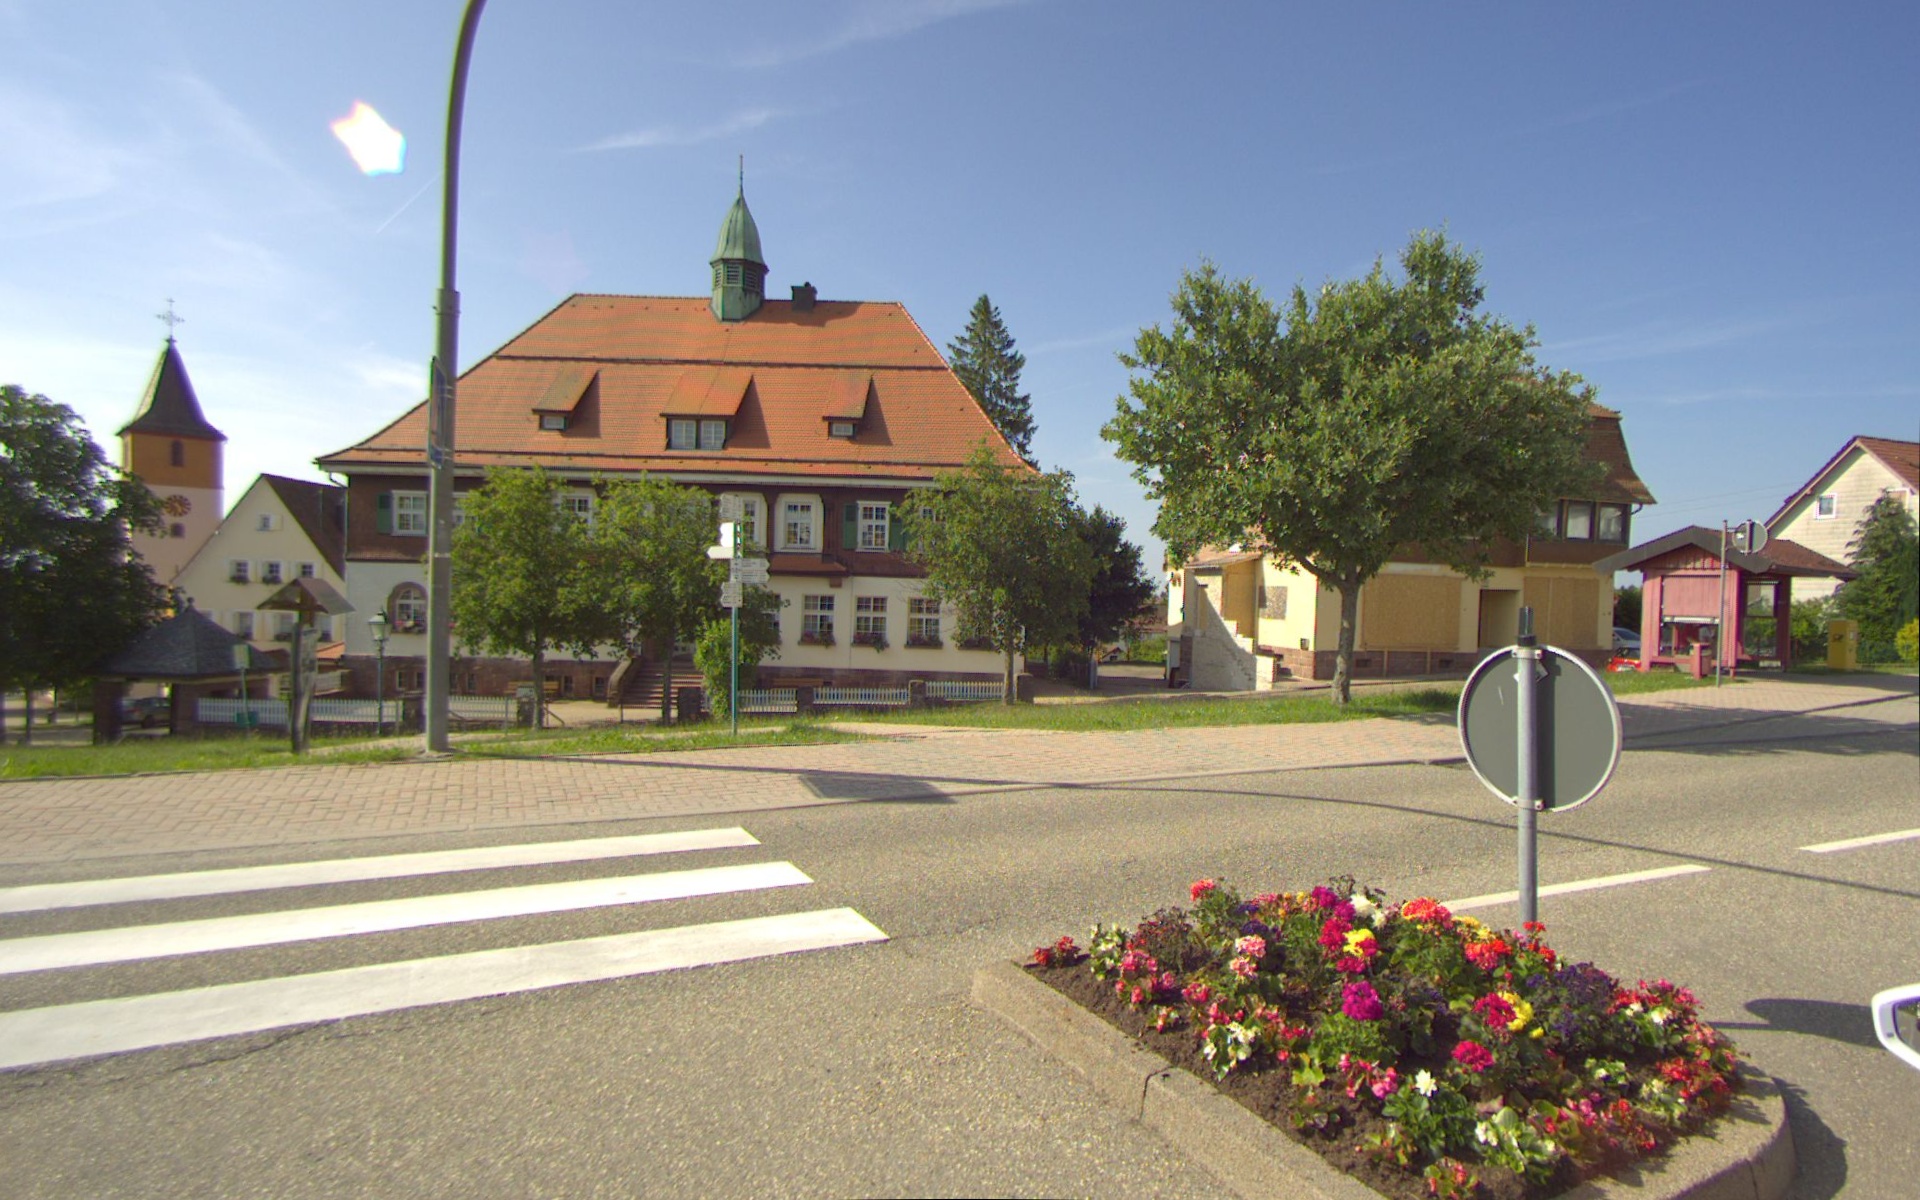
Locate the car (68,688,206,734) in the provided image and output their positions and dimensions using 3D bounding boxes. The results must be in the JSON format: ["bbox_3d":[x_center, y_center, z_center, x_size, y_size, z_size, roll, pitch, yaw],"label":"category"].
[{"bbox_3d":[-28.501,3.826,34.844,3.433,1.486,1.578,0,-2,-1],"label":"car"}]

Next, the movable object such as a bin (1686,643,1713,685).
[{"bbox_3d":[15.425,1.336,20.948,0.480,0.848,0.303,2,-1,-33],"label":"movable object such as a bin"}]

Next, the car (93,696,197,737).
[{"bbox_3d":[-37.815,5.381,46.749,1.963,1.639,3.995,0,-3,-9],"label":"car"}]

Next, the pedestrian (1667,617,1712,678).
[{"bbox_3d":[16.855,1.087,23.217,0.666,1.382,0.614,0,-1,-32],"label":"pedestrian"}]

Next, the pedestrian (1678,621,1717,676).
[{"bbox_3d":[17.314,1.143,23.589,0.419,1.269,0.625,1,-2,-32],"label":"pedestrian"}]

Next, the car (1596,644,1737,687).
[{"bbox_3d":[23.150,2.128,32.939,3.934,1.314,1.721,1,-2,-16],"label":"car"}]

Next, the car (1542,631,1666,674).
[{"bbox_3d":[27.943,2.250,43.741,1.773,1.531,4.295,3,0,-20],"label":"car"}]
